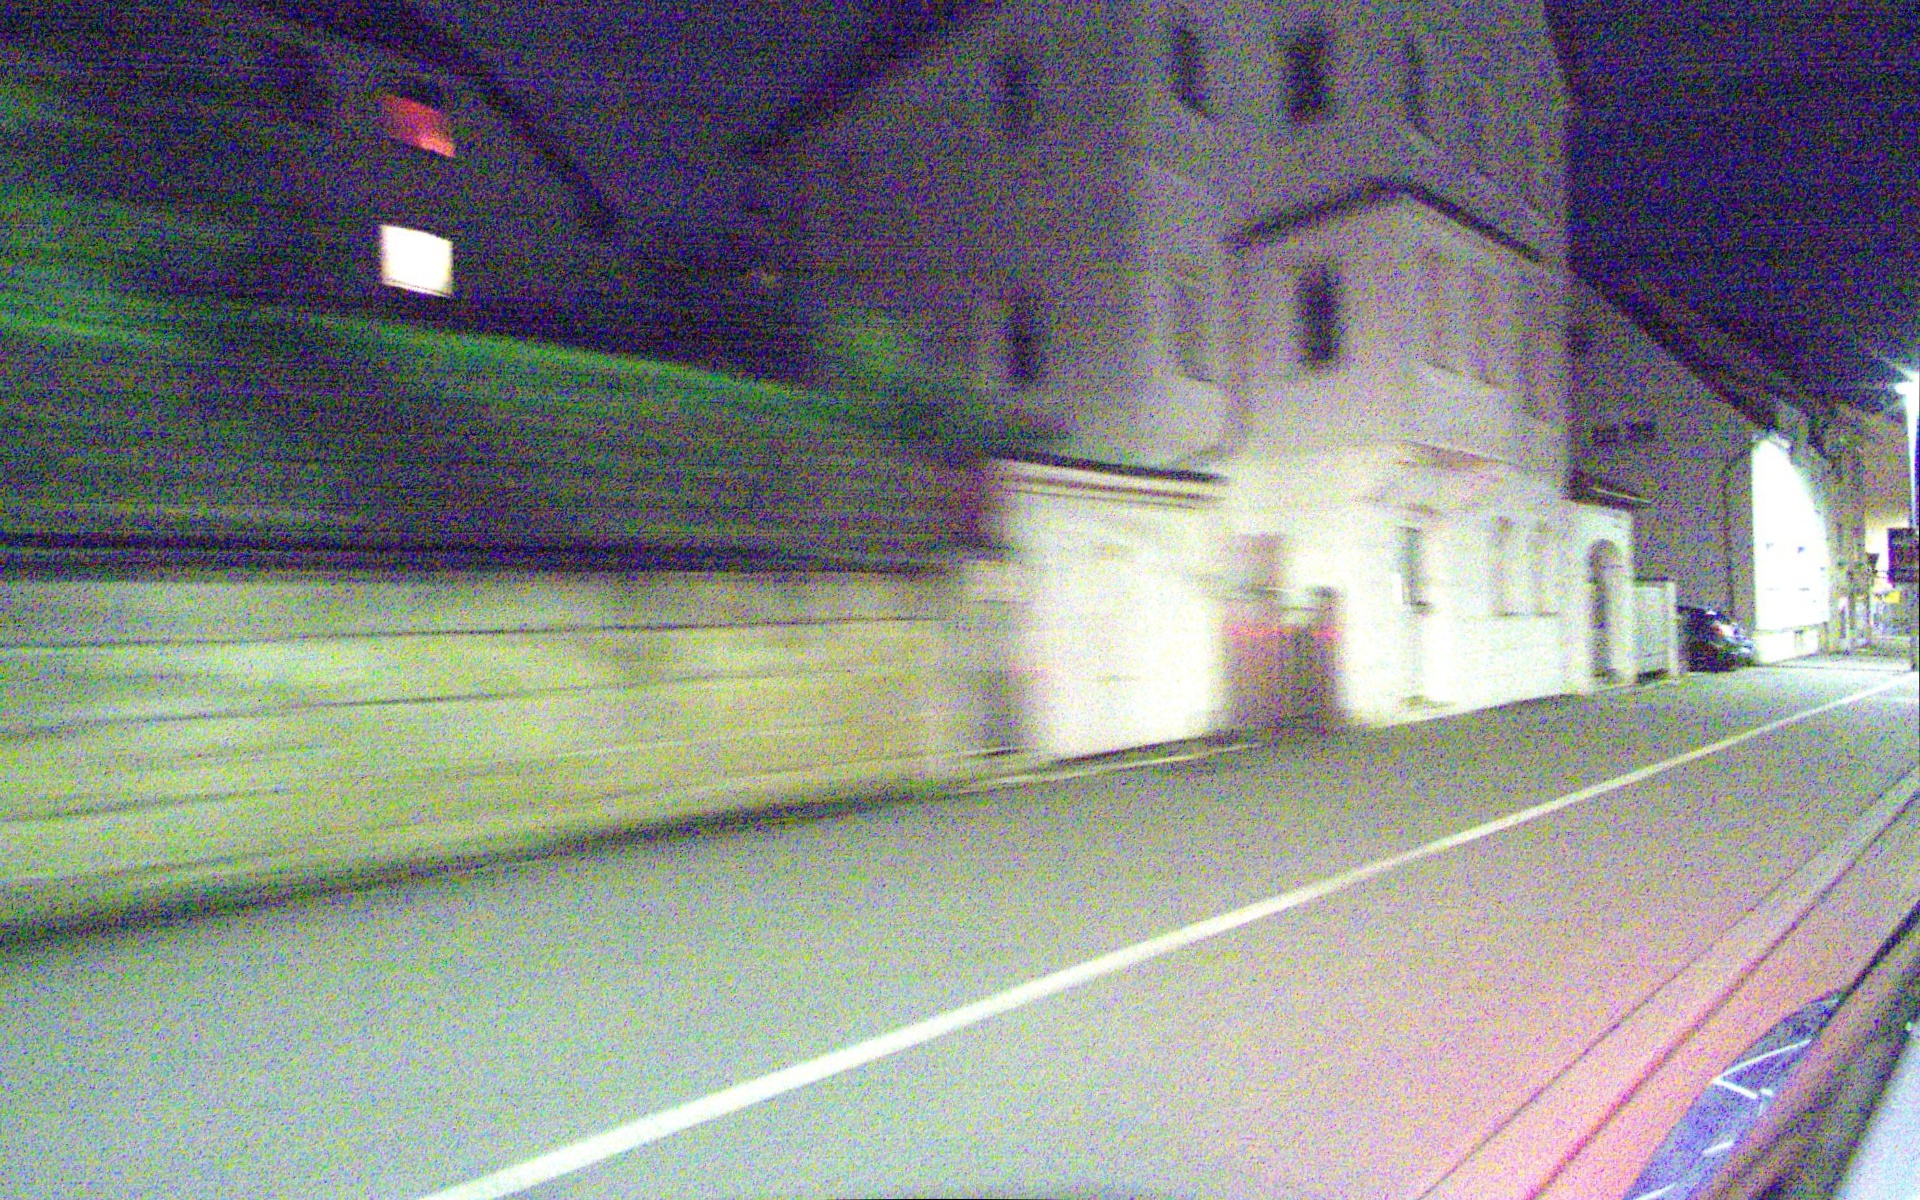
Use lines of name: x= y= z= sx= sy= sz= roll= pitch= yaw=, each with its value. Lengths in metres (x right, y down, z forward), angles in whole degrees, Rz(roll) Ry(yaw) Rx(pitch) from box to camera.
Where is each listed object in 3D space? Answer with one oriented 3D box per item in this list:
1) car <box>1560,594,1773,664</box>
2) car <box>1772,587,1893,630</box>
car: x=16.287 y=0.624 z=23.472 sx=1.699 sy=1.492 sz=3.721 roll=0 pitch=0 yaw=-37
car: x=36.068 y=0.316 z=41.877 sx=1.789 sy=1.543 sz=3.513 roll=0 pitch=3 yaw=-41
